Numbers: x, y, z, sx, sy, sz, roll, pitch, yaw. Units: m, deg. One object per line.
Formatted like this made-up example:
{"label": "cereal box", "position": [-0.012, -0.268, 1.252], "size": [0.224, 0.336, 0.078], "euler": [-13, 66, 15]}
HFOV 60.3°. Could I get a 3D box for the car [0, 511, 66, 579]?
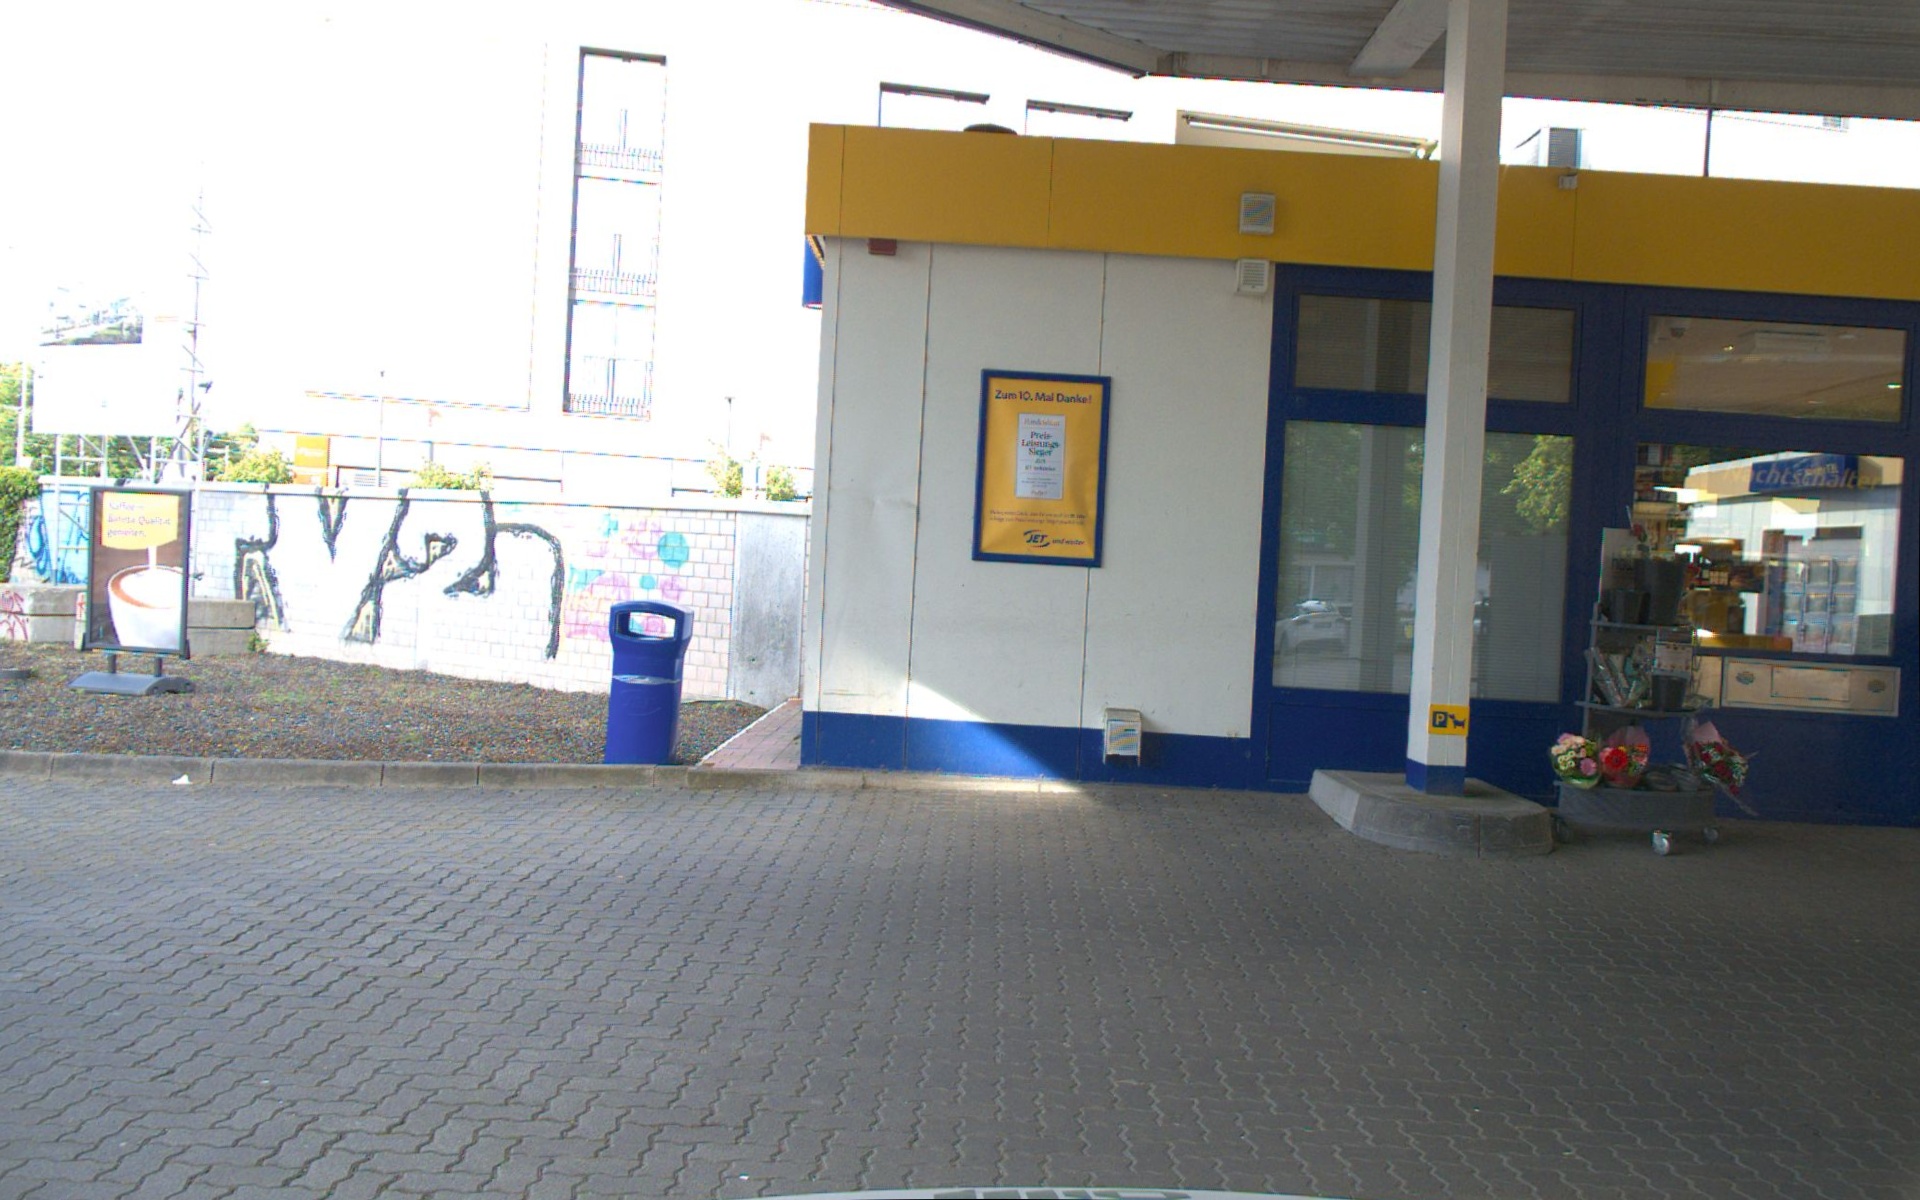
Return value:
{"label": "car", "position": [-25.257, -1.483, 43.801], "size": [1.736, 1.686, 4.828], "euler": [4, 0, -17]}
